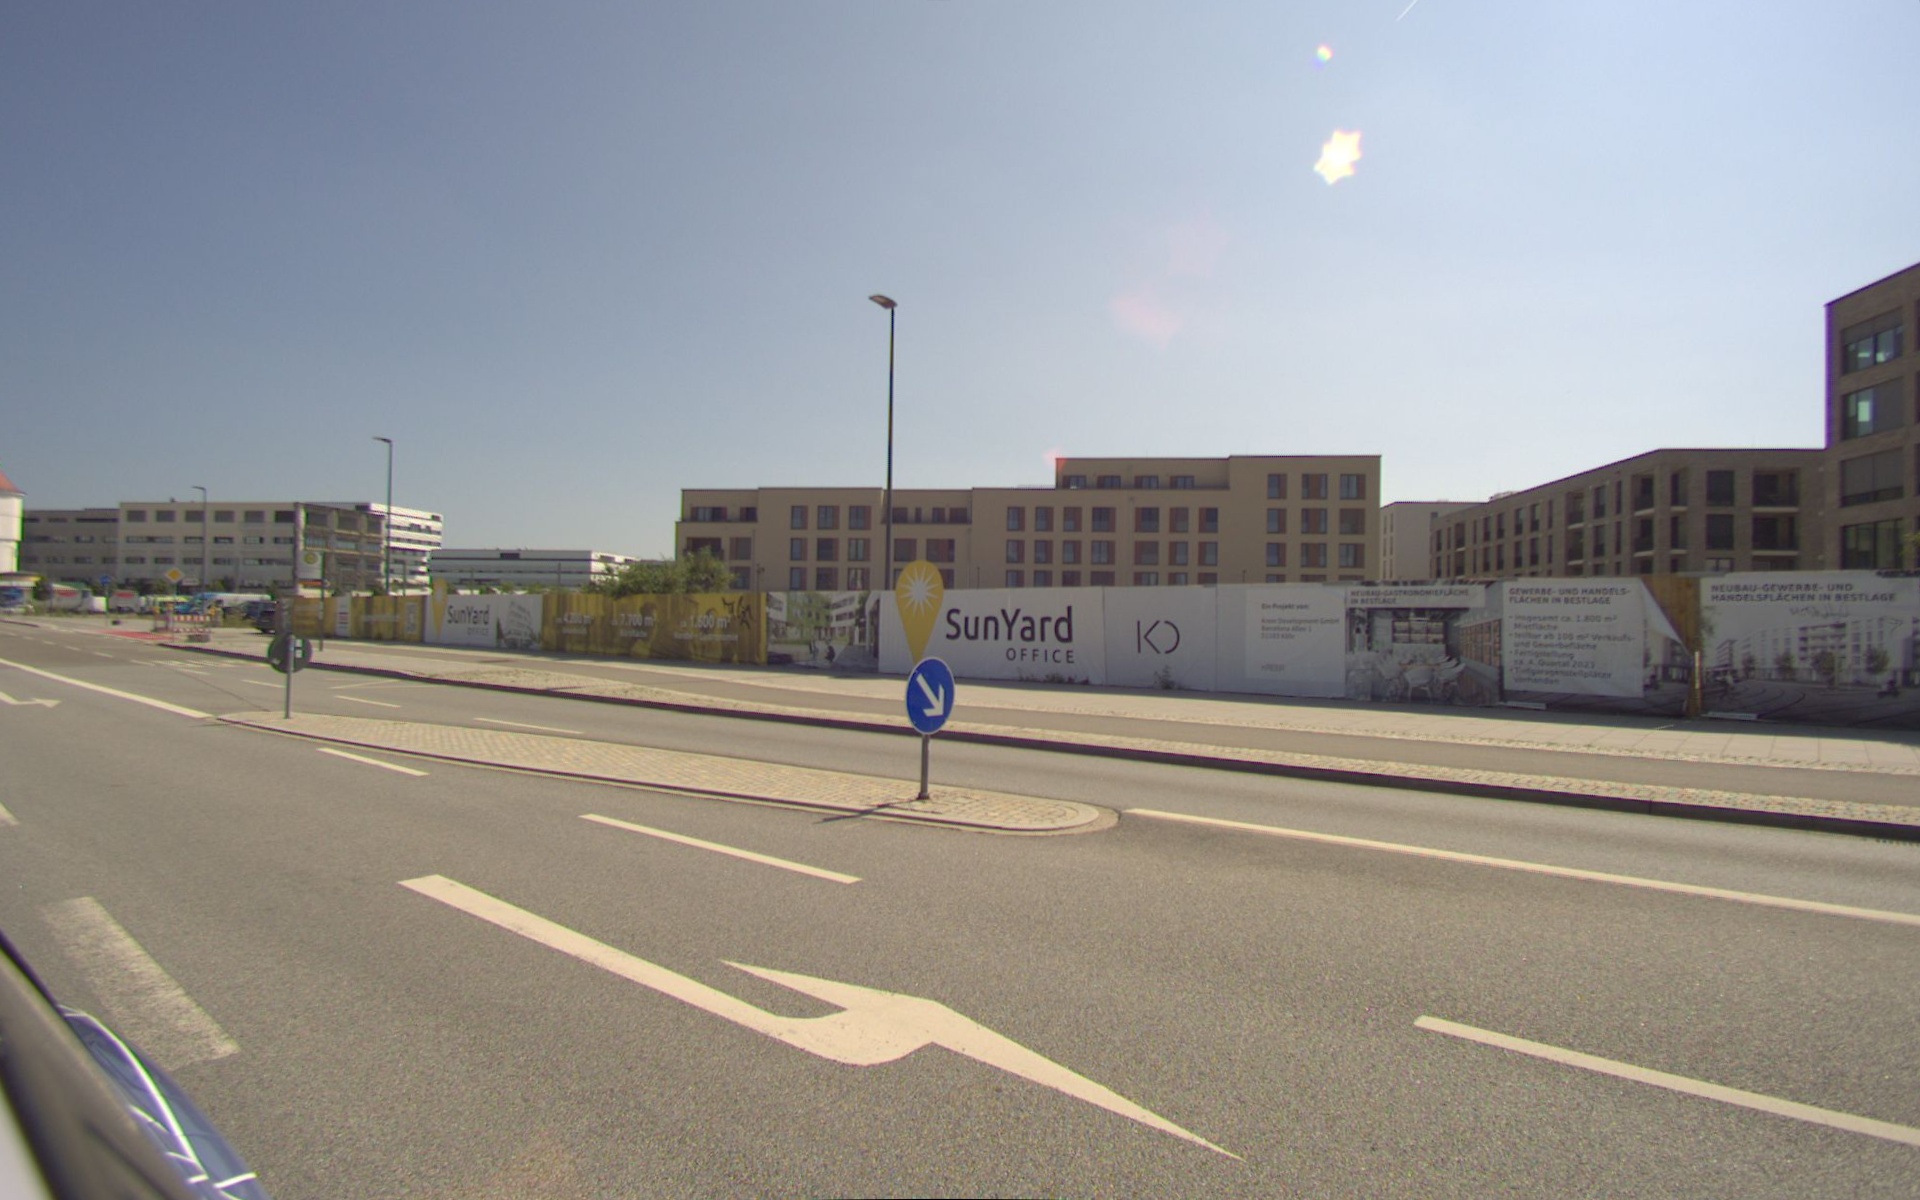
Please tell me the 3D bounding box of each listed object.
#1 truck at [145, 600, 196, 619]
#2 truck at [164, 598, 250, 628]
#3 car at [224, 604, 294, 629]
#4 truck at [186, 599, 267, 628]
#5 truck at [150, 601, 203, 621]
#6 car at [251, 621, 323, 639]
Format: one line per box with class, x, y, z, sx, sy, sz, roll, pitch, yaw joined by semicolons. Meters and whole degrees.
truck;-110.784;1.307;142.059;1.998;2.494;5.345;-1;0;39
truck;-63.920;1.073;86.038;1.997;2.494;5.566;-1;0;37
car;-51.653;1.174;74.612;1.888;1.731;3.884;-1;0;36
truck;-58.554;1.061;80.888;1.998;2.245;4.941;-1;0;40
truck;-105.394;1.455;136.177;1.997;2.494;5.269;-1;0;37
car;-39.748;1.738;59.808;1.293;0.960;3.314;-1;0;43
